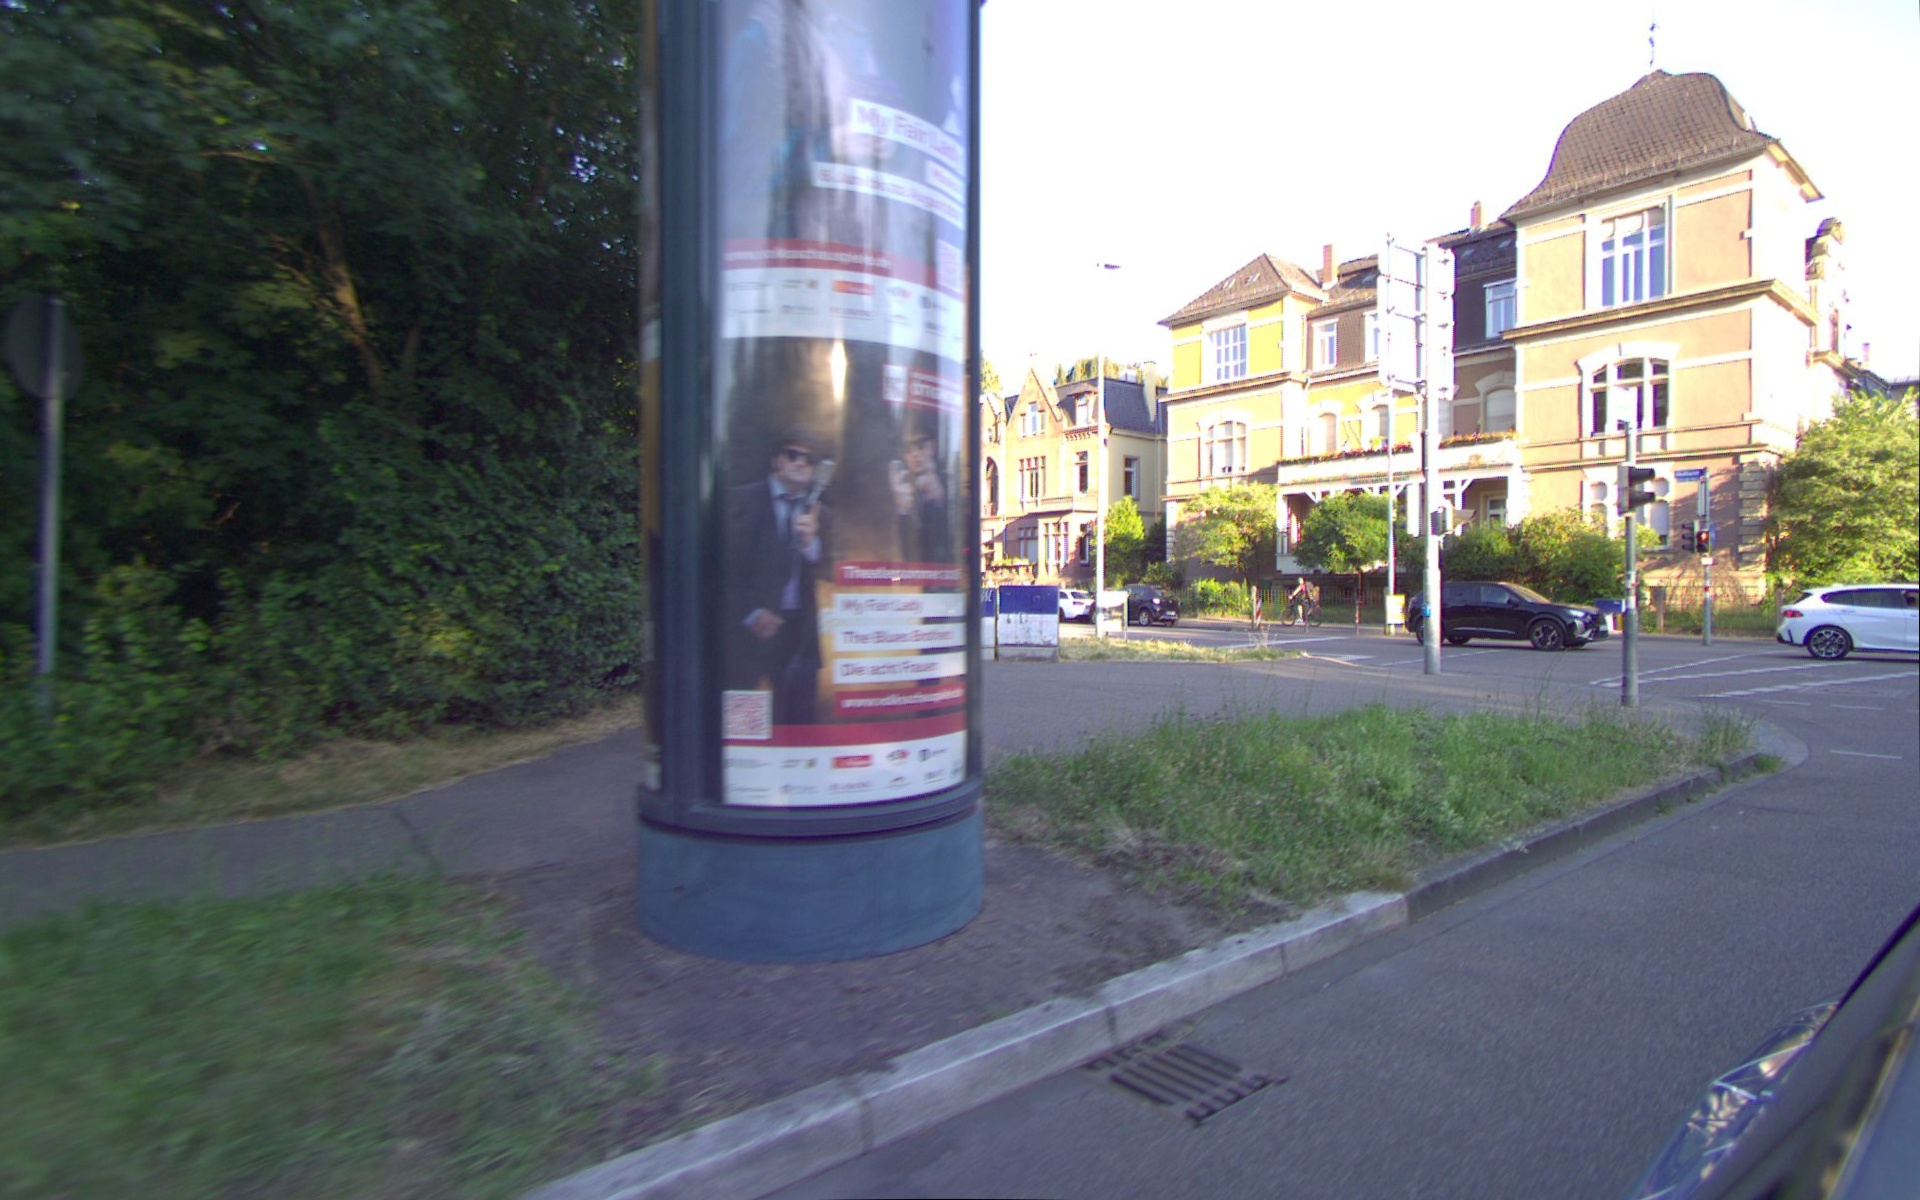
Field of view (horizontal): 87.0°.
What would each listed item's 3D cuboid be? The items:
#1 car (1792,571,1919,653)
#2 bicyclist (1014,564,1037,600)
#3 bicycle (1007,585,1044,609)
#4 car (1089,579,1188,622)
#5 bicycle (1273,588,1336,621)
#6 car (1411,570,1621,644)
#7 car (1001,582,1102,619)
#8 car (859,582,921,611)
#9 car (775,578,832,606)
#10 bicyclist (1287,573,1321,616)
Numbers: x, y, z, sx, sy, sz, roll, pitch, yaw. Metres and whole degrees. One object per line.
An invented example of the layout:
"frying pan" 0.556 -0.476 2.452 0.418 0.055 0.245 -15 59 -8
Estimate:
"car" 18.178 0.212 18.747 4.175 1.484 1.730 0 1 44
"bicyclist" 3.116 -0.864 48.268 0.641 1.652 0.914 -3 2 -38
"bicycle" 3.122 -0.163 48.314 0.648 1.102 1.902 -3 2 -38
"car" 6.924 0.006 39.596 1.602 1.554 3.721 3 -1 -37
"bicycle" 12.569 0.141 37.027 0.676 1.137 2.167 -2 2 -38
"car" 12.860 0.122 23.604 1.654 1.555 3.995 -1 1 -39
"car" 3.860 0.012 43.191 1.581 1.461 4.426 2 -1 -41
"car" -3.696 -0.187 52.995 1.602 1.463 3.564 0 0 -37
"car" -9.376 -0.466 60.446 1.686 1.609 3.748 0 0 -40
"bicyclist" 12.568 -0.204 37.020 0.673 1.531 0.955 -2 1 -38
